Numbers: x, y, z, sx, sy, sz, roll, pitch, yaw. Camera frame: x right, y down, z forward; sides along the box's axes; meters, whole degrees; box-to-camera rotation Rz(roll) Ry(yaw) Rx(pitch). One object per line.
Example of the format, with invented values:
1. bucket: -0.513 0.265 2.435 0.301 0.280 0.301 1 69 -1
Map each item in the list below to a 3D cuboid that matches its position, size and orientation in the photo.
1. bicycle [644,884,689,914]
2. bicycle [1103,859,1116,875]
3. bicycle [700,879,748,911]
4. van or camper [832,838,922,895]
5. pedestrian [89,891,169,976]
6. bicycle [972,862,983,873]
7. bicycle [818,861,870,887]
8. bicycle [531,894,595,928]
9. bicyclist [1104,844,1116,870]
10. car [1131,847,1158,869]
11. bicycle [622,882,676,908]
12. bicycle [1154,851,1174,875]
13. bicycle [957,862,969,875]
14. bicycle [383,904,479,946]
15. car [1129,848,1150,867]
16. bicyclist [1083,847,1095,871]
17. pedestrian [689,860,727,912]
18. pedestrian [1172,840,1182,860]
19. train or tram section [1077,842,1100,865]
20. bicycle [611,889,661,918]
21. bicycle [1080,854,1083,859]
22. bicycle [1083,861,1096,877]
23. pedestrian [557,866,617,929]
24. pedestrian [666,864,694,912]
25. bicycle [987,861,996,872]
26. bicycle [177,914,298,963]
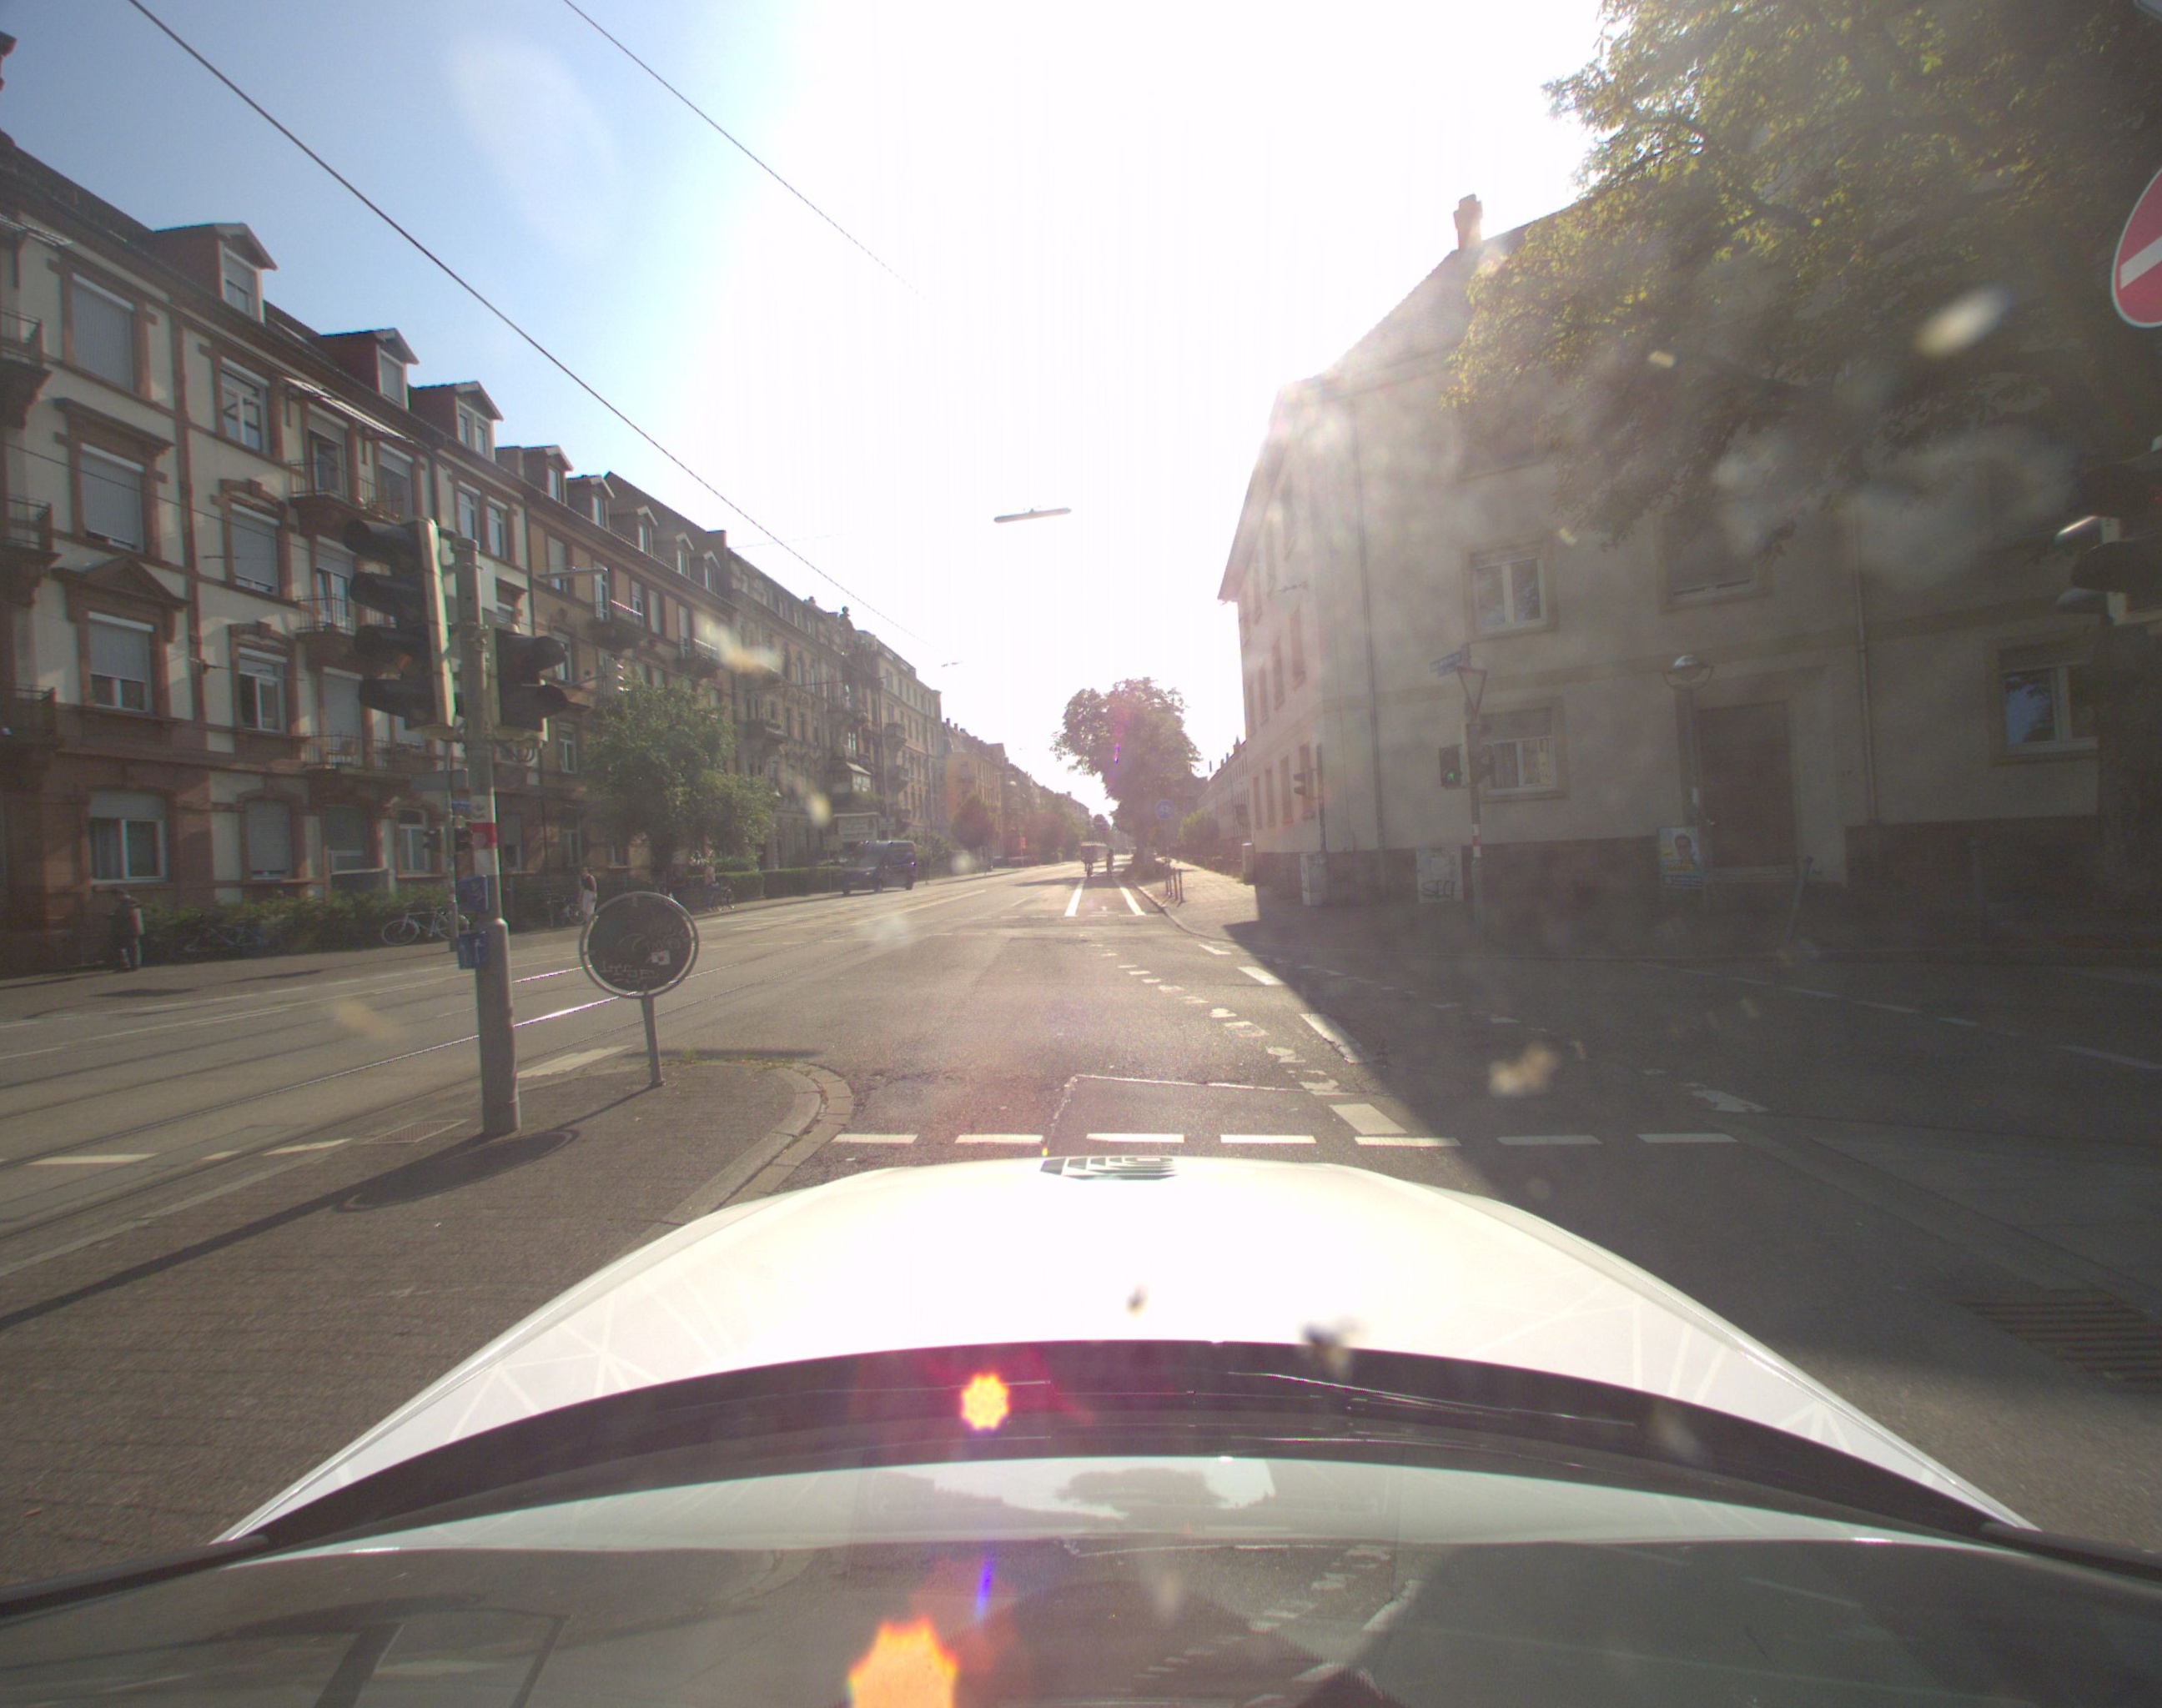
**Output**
1. bicycle: -14.812 1.609 29.168 0.523 0.927 1.706 -3 0 8
2. bicycle: 1.683 0.767 47.506 0.651 0.909 1.777 -1 0 4
3. bicycle: -13.010 1.467 29.760 0.615 1.007 2.153 -3 0 4
4. van or camper: -10.566 0.602 42.785 2.037 2.644 6.109 -4 -1 11
5. pedestrian: -19.101 1.565 16.339 0.831 1.571 0.952 -3 0 38
6. bicycle: -9.736 1.266 76.633 0.542 1.058 1.843 1 0 6
7. bicycle: -14.510 1.232 49.935 2.868 1.455 0.997 -2 0 -3
8. bicycle: -15.625 1.707 24.603 0.523 0.860 1.832 -3 0 8
9. bicyclist: 1.675 0.154 47.494 0.651 1.474 0.909 -1 0 3
10. car: 5.084 0.303 64.685 1.635 1.540 3.853 -5 -1 10
11. bicycle: -16.053 1.516 30.258 1.689 0.860 0.528 -3 0 4
12. bicycle: 4.159 0.442 40.929 0.769 1.104 2.334 -3 0 2
13. bicycle: -10.229 1.221 70.712 0.603 1.058 1.843 1 0 6
14. bicycle: -16.695 1.801 20.952 0.521 0.860 1.839 -3 0 42
15. car: 5.249 0.295 72.651 1.638 1.448 4.251 -5 -1 5
16. bicyclist: 0.469 0.304 47.827 0.624 1.401 0.930 -1 0 3
17. pedestrian: -13.528 1.153 29.561 0.724 1.806 1.094 -3 0 3
18. pedestrian: 8.757 -0.347 73.915 0.747 1.749 0.881 -3 0 11
19. train or tram section: 1.401 -0.065 133.862 2.722 3.505 15.449 -3 0 4
20. bicycle: -14.979 1.654 27.480 0.523 0.860 1.706 -3 0 8
21. bicycle: 0.086 0.661 199.786 0.558 1.221 2.117 -3 0 6
22. bicycle: 0.495 0.851 47.908 0.624 0.909 1.526 -1 0 4
23. pedestrian: -14.765 1.288 24.376 0.900 1.766 1.188 -3 0 8
24. pedestrian: -14.629 1.218 29.708 0.636 1.678 0.632 -3 0 -8
25. bicycle: -9.196 1.289 83.646 0.542 1.058 1.843 1 0 6
26. bicycle: -18.906 1.872 18.284 0.521 0.860 1.839 -3 0 42
